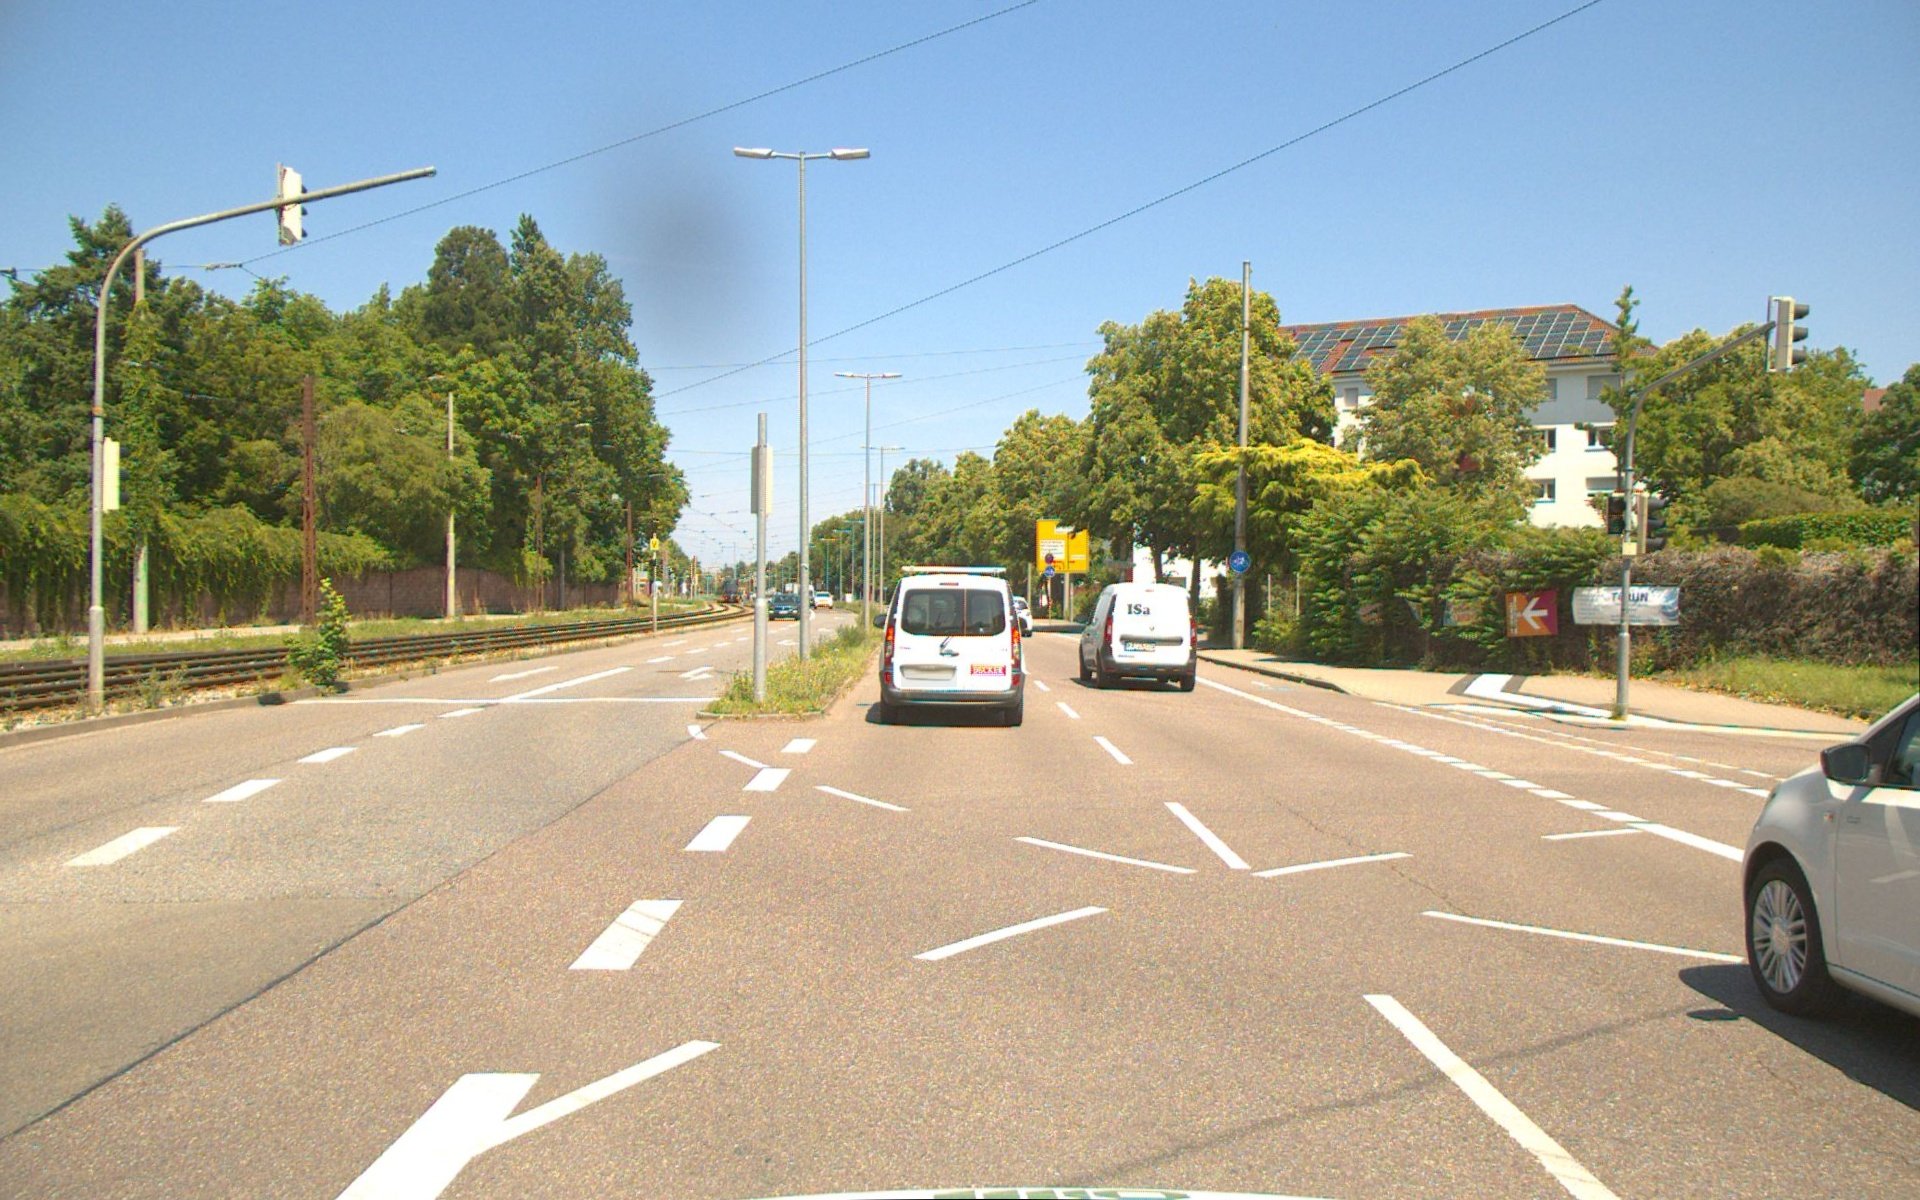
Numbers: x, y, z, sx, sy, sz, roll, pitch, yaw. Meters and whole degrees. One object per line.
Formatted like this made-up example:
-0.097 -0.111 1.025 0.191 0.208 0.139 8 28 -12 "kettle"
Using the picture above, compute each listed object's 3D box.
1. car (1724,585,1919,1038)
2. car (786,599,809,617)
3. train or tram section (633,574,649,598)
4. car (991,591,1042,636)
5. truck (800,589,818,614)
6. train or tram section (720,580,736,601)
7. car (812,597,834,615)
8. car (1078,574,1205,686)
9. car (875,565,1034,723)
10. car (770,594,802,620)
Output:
3.937 0.725 5.059 1.576 1.472 3.436 2 1 0 "car"
-13.221 0.646 134.405 1.663 1.464 3.998 0 0 -3 "car"
-49.537 -2.149 257.058 1.957 3.585 16.129 2 0 -10 "train or tram section"
2.201 0.502 65.003 1.797 1.596 4.000 2 1 0 "car"
-19.952 0.228 219.088 1.953 3.270 5.310 1 0 -1 "truck"
-36.240 -1.416 258.241 1.957 3.140 16.129 2 0 -10 "train or tram section"
-14.277 0.592 172.525 1.953 1.847 3.999 1 0 -1 "car"
3.172 0.502 29.597 1.693 1.819 4.063 2 0 -1 "car"
-0.078 0.497 21.268 1.784 1.770 4.395 2 0 0 "car"
-10.335 0.406 98.359 1.663 1.539 4.064 0 0 -3 "car"
